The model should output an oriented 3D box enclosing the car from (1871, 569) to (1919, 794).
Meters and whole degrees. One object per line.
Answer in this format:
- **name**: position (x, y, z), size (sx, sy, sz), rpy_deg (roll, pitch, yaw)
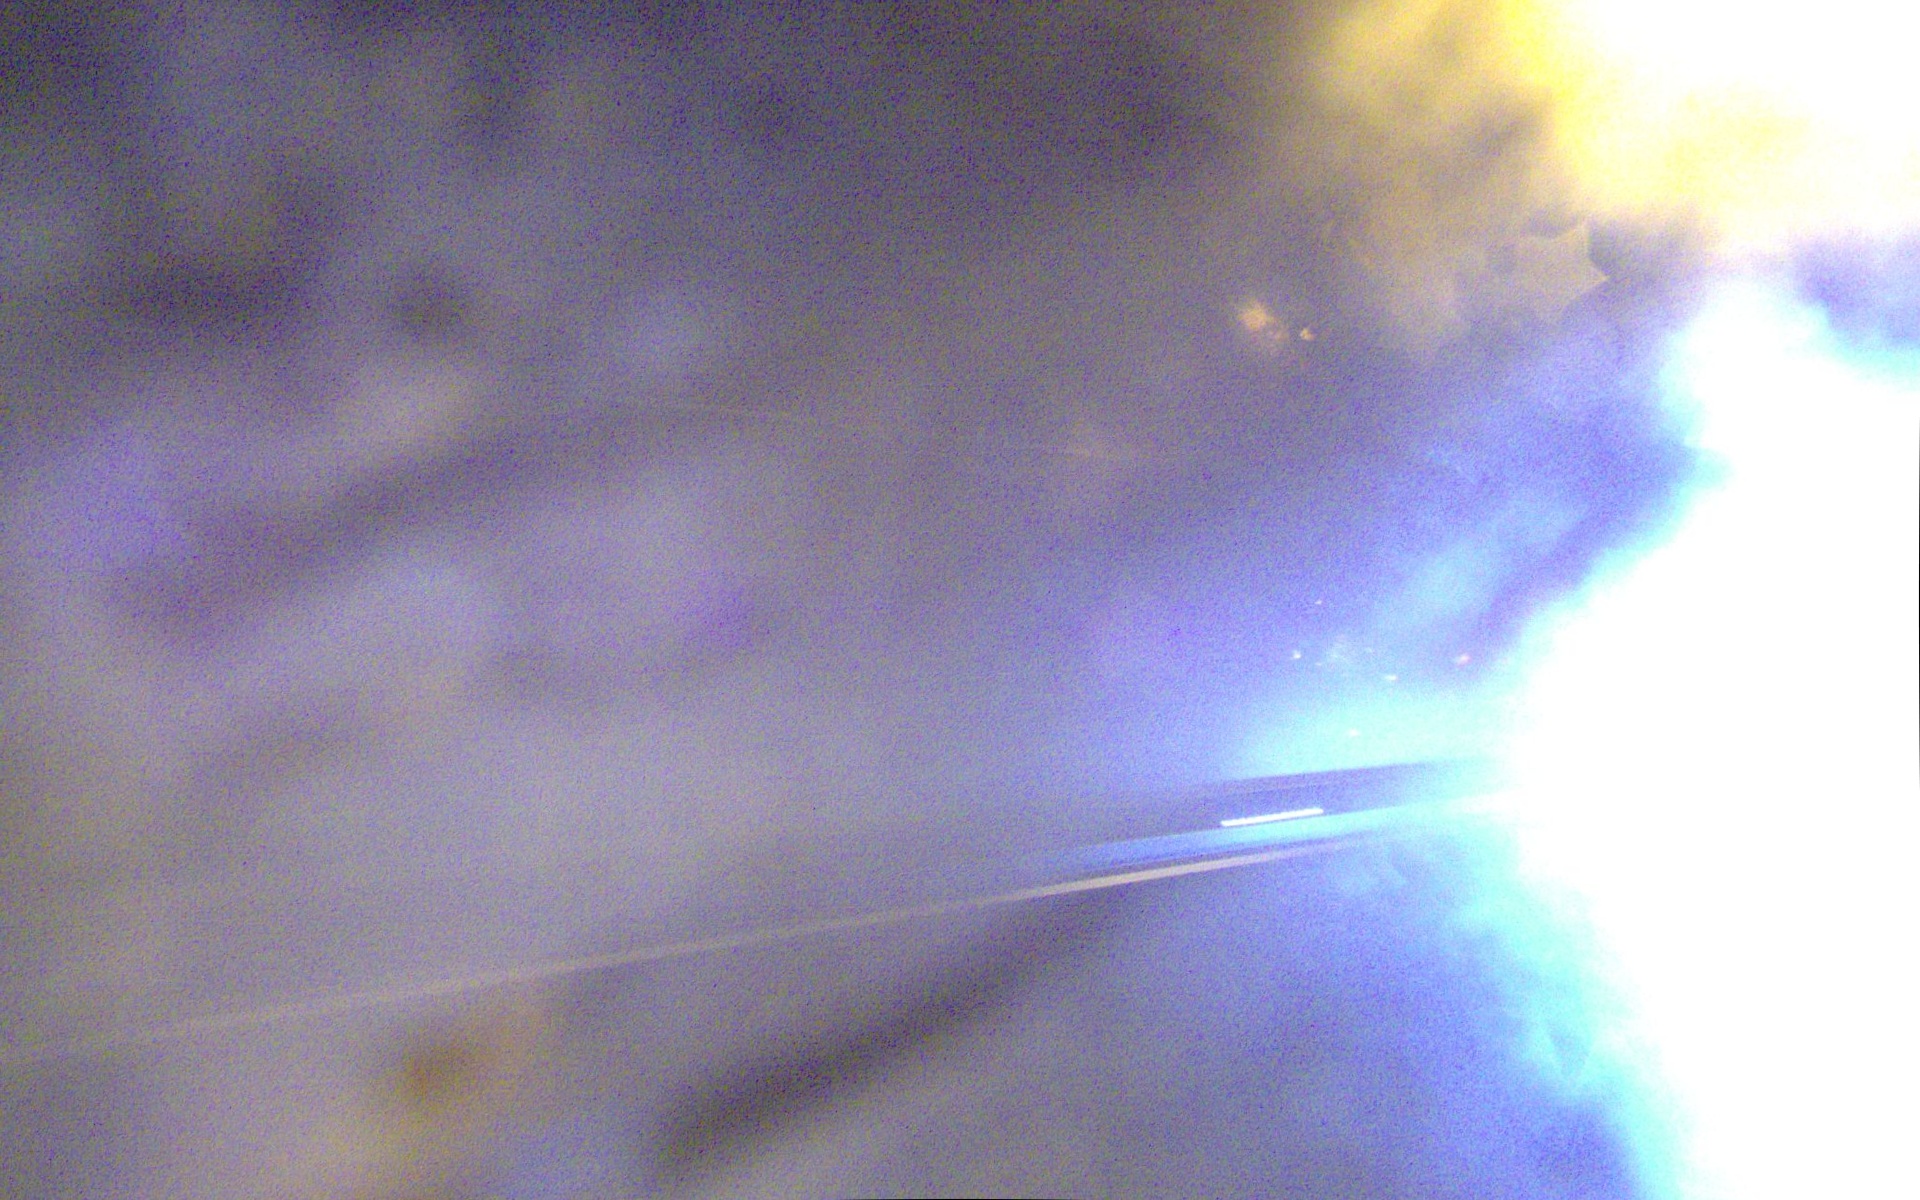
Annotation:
- **car**: position (10.465, 0.717, 9.205), size (4.553, 1.925, 1.833), rpy_deg (1, -1, -30)
